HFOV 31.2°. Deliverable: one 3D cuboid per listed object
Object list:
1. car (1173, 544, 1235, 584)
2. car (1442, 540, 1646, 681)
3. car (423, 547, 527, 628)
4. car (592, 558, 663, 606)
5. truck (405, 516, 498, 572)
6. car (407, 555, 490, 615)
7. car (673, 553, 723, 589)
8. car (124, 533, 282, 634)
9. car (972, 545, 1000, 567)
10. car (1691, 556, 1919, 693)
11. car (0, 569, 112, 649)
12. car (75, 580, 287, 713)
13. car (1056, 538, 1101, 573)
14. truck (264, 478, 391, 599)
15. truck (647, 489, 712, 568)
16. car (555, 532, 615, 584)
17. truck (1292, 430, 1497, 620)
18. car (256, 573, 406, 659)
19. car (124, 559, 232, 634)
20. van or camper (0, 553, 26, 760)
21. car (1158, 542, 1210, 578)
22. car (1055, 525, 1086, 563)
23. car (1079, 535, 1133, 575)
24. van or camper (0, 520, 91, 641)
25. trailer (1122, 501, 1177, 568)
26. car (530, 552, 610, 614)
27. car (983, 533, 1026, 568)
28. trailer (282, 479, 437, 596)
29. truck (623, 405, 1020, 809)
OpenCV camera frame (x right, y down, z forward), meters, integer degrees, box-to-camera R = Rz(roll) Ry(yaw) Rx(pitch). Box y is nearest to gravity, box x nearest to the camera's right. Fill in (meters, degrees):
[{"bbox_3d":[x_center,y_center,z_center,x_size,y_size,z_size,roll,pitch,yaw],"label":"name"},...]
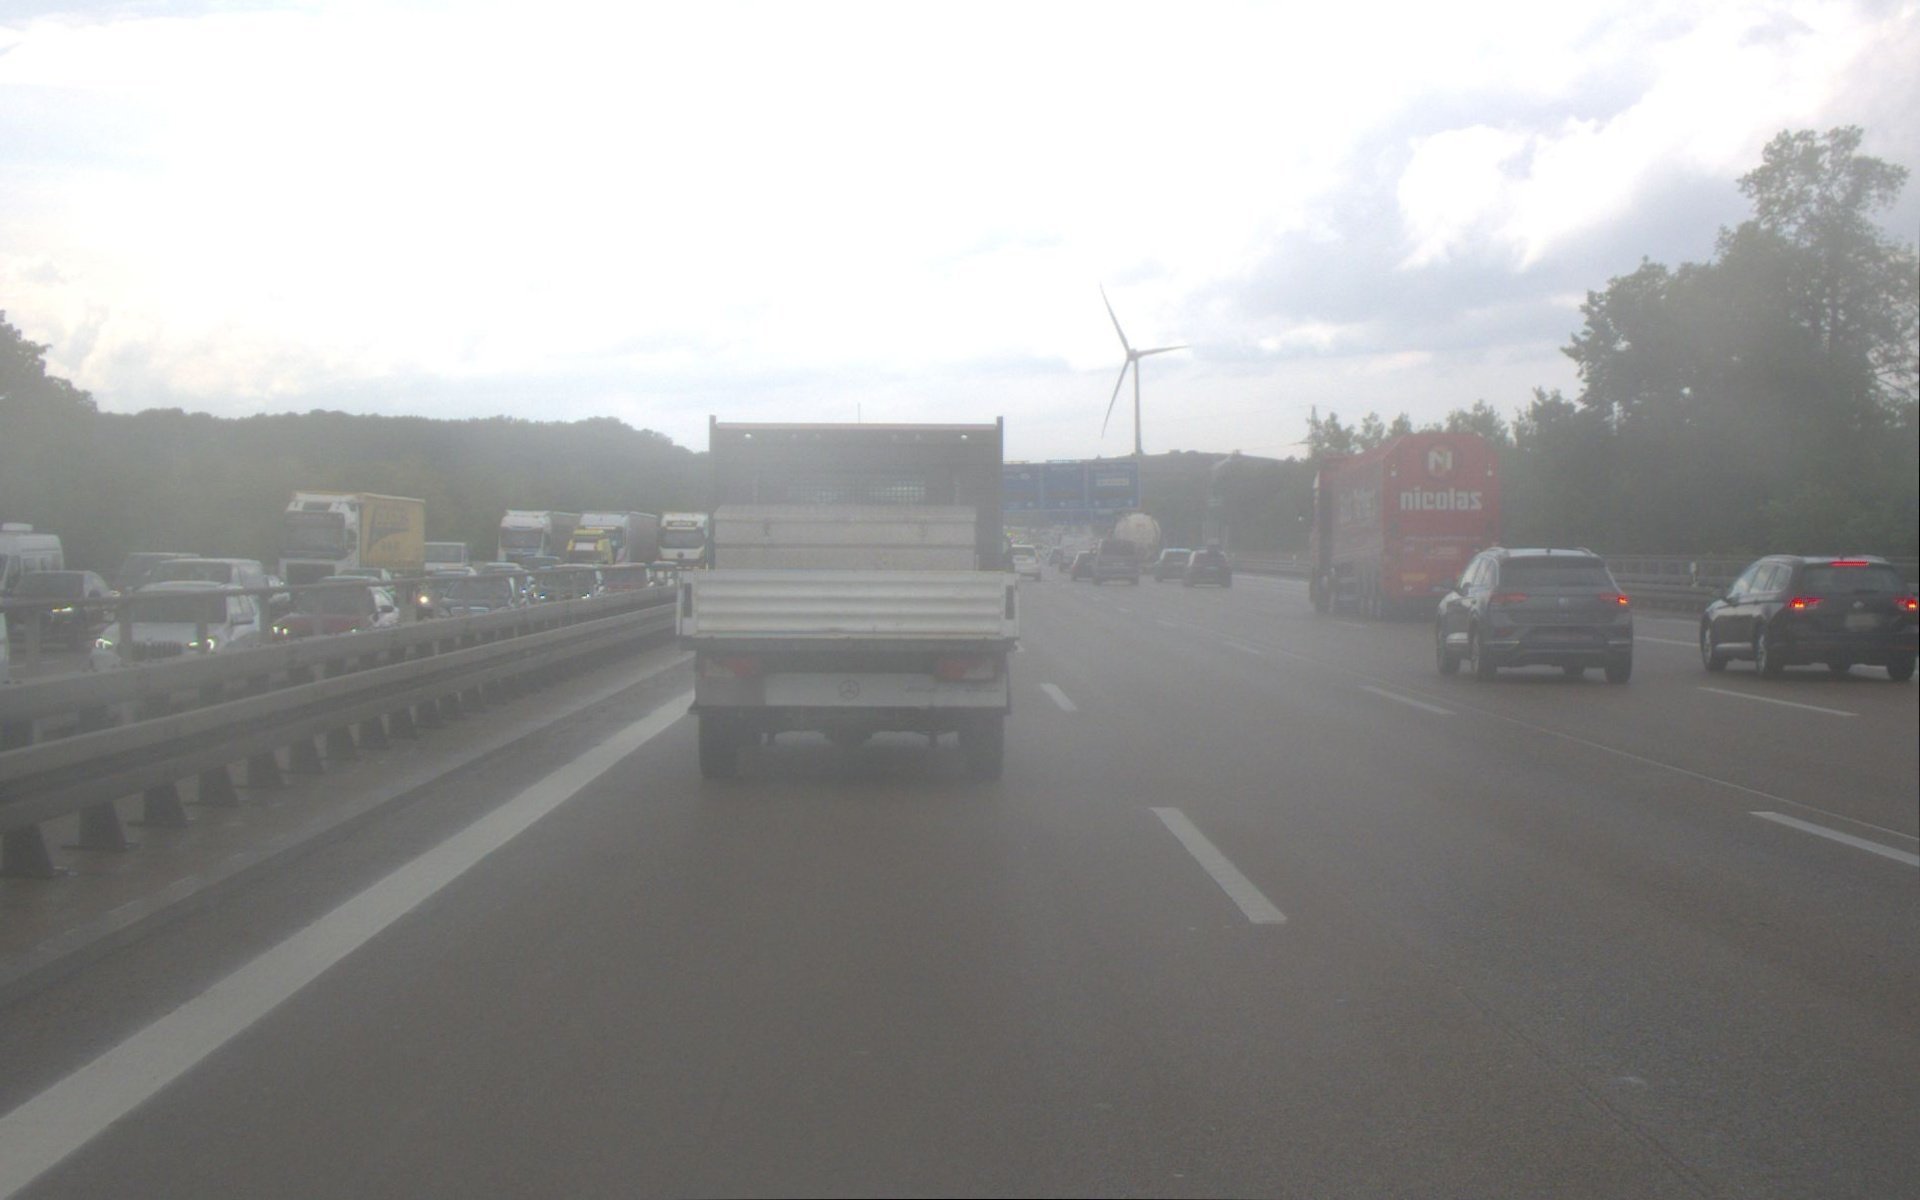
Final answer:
[{"bbox_3d":[10.095,-1.500,142.709,2.105,1.600,5.066,0,1,-1],"label":"car"},{"bbox_3d":[6.792,0.093,40.297,1.792,1.557,3.722,0,1,1],"label":"car"},{"bbox_3d":[-11.565,-0.334,82.273,1.865,1.820,5.710,-1,1,-2],"label":"car"},{"bbox_3d":[-10.817,-0.599,112.043,1.994,1.458,4.842,-1,1,-2],"label":"car"},{"bbox_3d":[-22.418,-2.452,152.002,2.680,2.363,9.275,-1,1,0],"label":"truck"},{"bbox_3d":[-15.106,-0.462,101.699,1.857,1.702,4.000,-1,1,0],"label":"car"},{"bbox_3d":[-10.609,-1.191,139.330,1.762,1.378,4.821,-1,1,-1],"label":"car"},{"bbox_3d":[-14.860,-0.338,67.729,1.893,1.895,5.001,-1,1,1],"label":"car"},{"bbox_3d":[1.785,-3.019,236.529,1.812,1.441,4.000,-1,1,-1],"label":"car"},{"bbox_3d":[10.262,0.254,41.578,1.815,1.538,4.358,0,1,-1],"label":"car"},{"bbox_3d":[-18.914,0.160,71.492,1.676,1.574,4.000,-1,1,-2],"label":"car"},{"bbox_3d":[-10.846,0.597,48.246,1.825,1.669,5.358,-1,1,-1],"label":"car"},{"bbox_3d":[5.792,-2.182,168.985,2.045,1.693,4.000,0,1,0],"label":"car"},{"bbox_3d":[-22.898,-2.229,124.774,3.247,4.235,6.882,-1,1,0],"label":"truck"},{"bbox_3d":[-15.218,-3.883,186.956,2.880,4.166,7.557,-1,1,0],"label":"truck"},{"bbox_3d":[-18.508,-2.075,170.082,2.156,2.496,6.773,-1,1,0],"label":"car"},{"bbox_3d":[9.915,-1.739,80.340,3.152,3.989,15.637,0,1,1],"label":"truck"},{"bbox_3d":[-11.187,0.257,61.484,1.873,1.387,5.366,-1,1,-2],"label":"car"},{"bbox_3d":[-18.815,-0.112,82.878,1.727,1.607,4.464,-2,2,-2],"label":"car"},{"bbox_3d":[-10.536,0.612,32.575,1.983,2.061,5.644,-1,1,-2],"label":"van or camper"},{"bbox_3d":[10.737,-1.948,165.175,2.045,1.693,5.007,0,1,-1],"label":"car"},{"bbox_3d":[7.359,-3.746,229.951,2.045,2.489,4.000,0,1,2],"label":"car"},{"bbox_3d":[6.359,-1.974,149.781,2.097,1.693,4.000,0,1,-1],"label":"car"},{"bbox_3d":[-22.589,-0.506,81.840,2.201,2.756,7.232,-1,1,-2],"label":"van or camper"},{"bbox_3d":[12.224,-4.224,222.785,3.333,4.161,11.837,1,1,2],"label":"trailer"},{"bbox_3d":[-11.129,-0.511,98.290,1.867,1.664,5.175,-1,1,-2],"label":"car"},{"bbox_3d":[2.178,-2.444,168.530,1.972,1.693,4.000,0,1,-1],"label":"car"},{"bbox_3d":[-22.799,-2.368,131.436,3.247,4.213,14.510,-1,1,0],"label":"trailer"},{"bbox_3d":[-0.910,-0.028,24.342,2.353,2.400,7.359,1,1,-1],"label":"truck"}]
